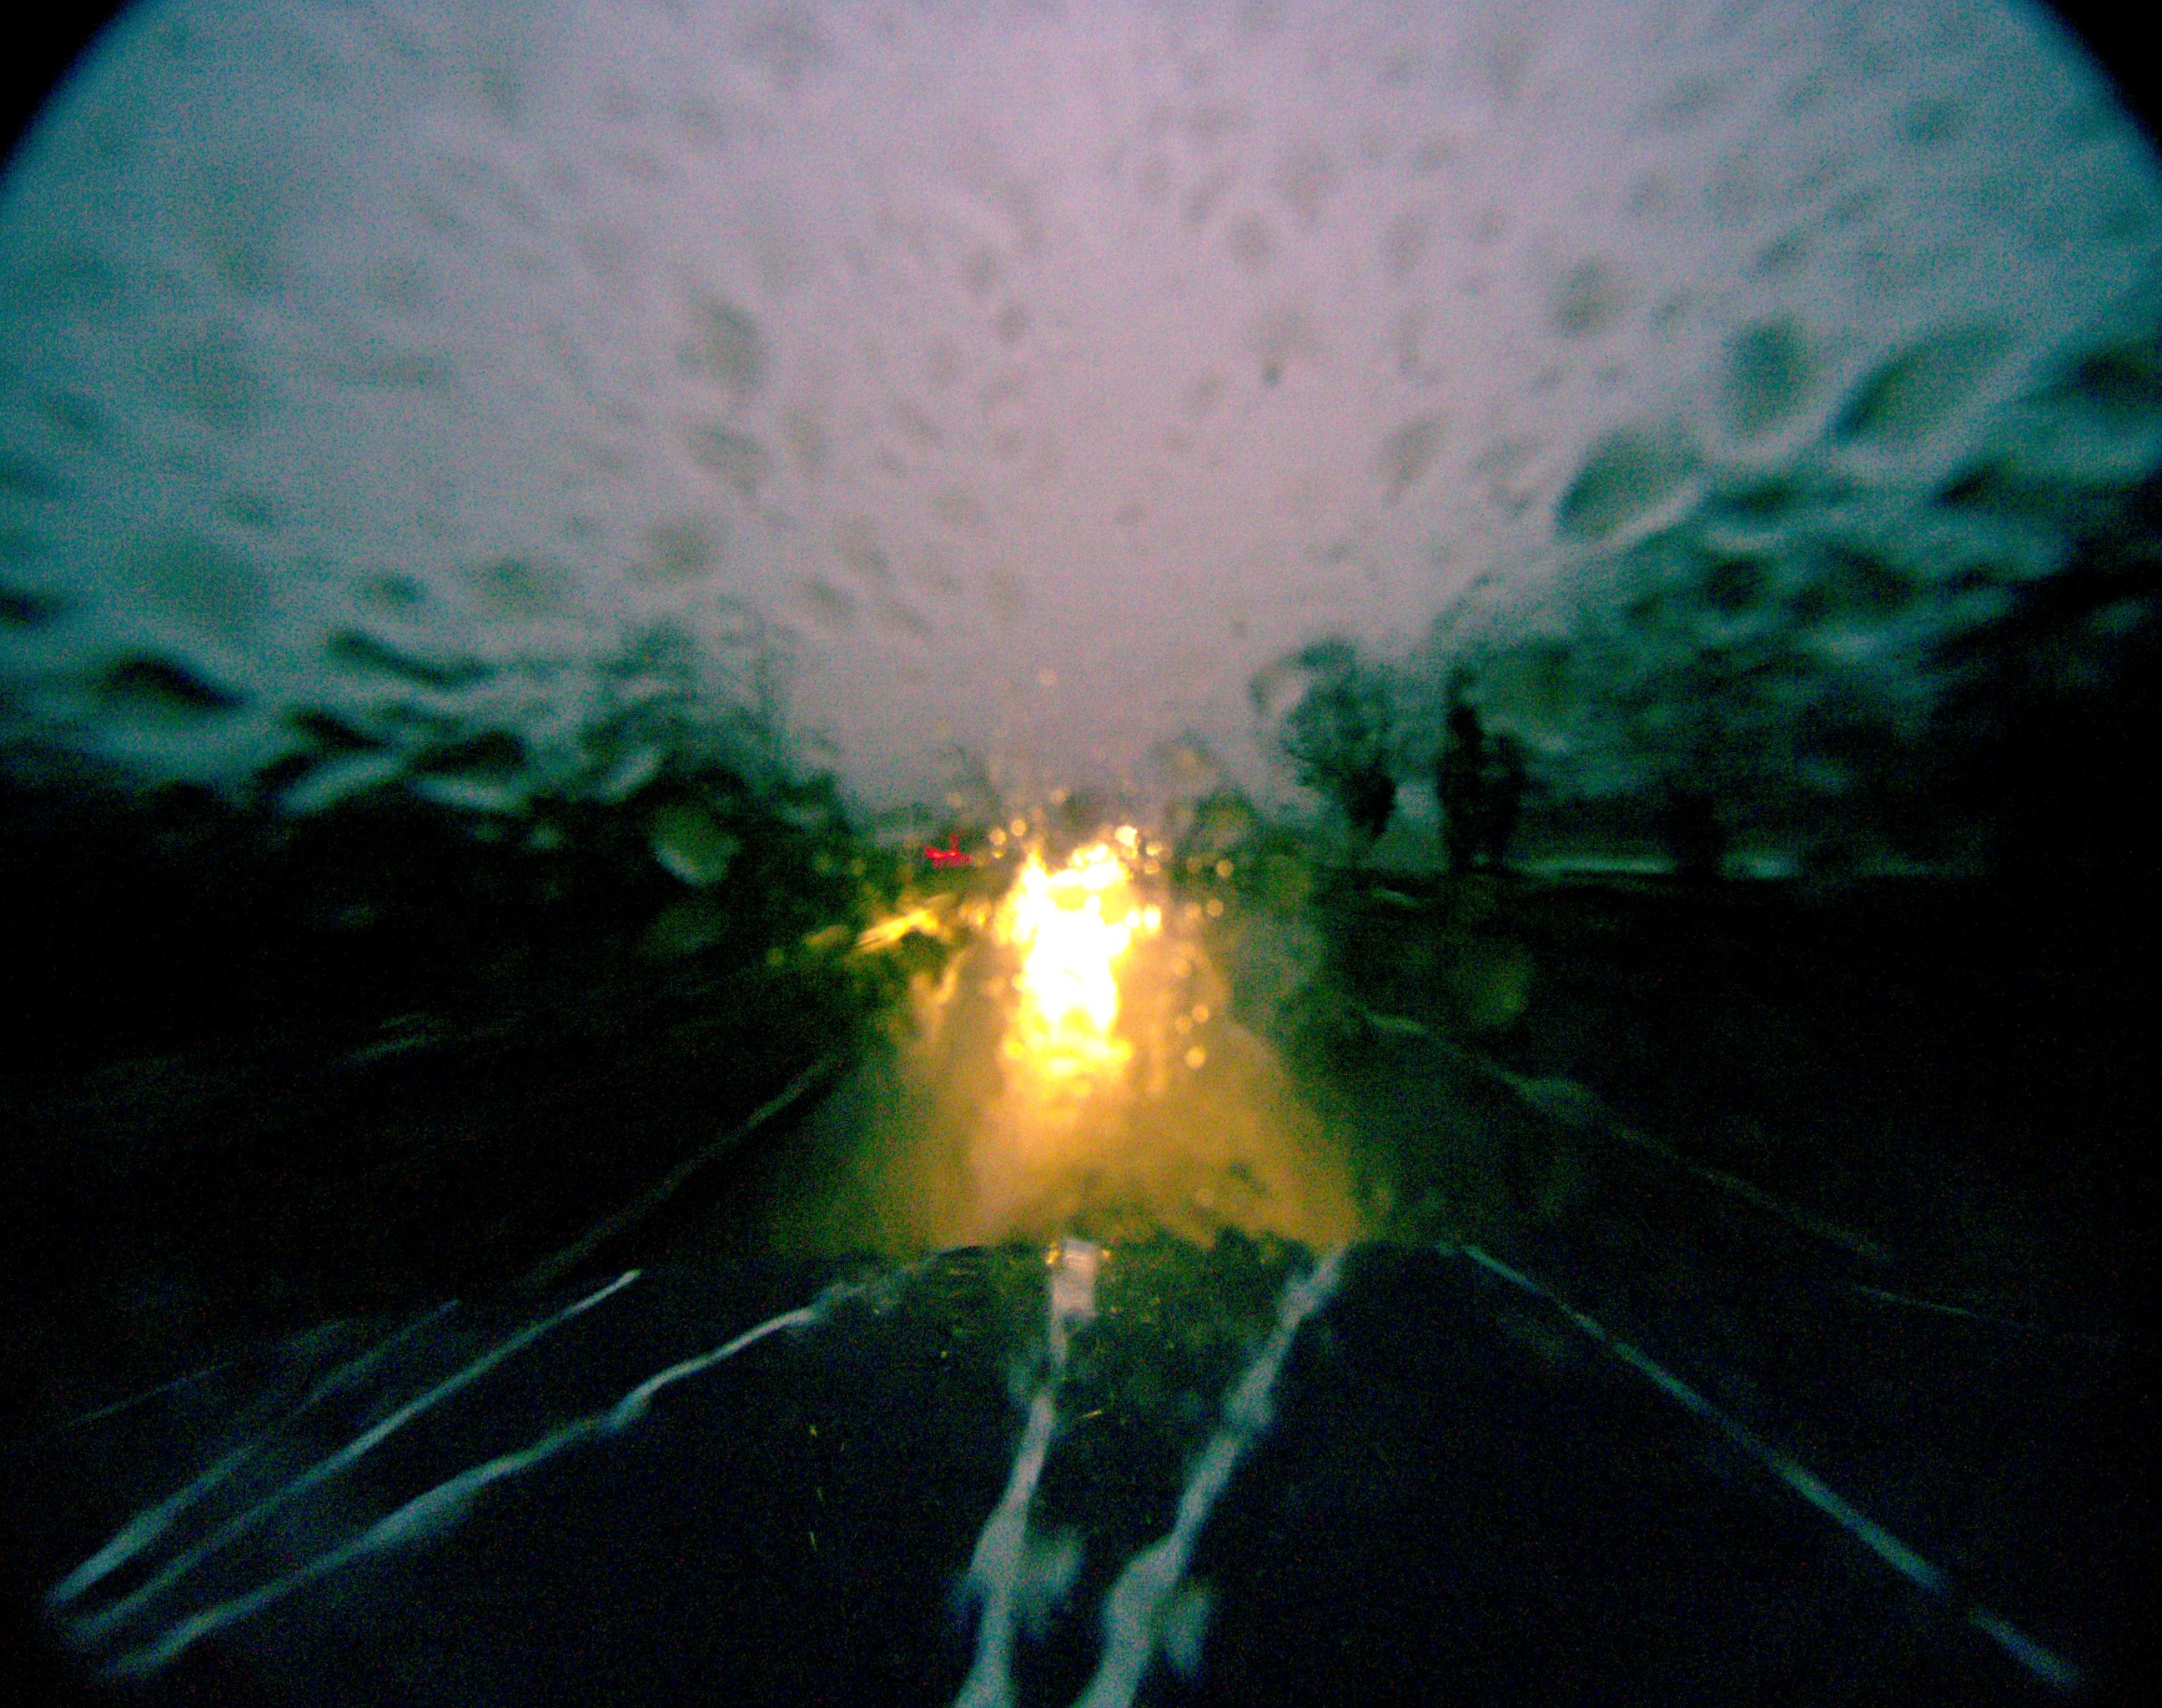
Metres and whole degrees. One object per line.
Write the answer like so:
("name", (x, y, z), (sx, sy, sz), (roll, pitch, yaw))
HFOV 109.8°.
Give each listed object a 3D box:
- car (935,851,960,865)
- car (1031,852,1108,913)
("car", (-18.126, 0.573, 103.265), (2.002, 1.612, 4.588), (-8, 3, -25))
("car", (-0.442, 0.807, 23.861), (2.103, 1.566, 4.797), (-3, 1, -3))
